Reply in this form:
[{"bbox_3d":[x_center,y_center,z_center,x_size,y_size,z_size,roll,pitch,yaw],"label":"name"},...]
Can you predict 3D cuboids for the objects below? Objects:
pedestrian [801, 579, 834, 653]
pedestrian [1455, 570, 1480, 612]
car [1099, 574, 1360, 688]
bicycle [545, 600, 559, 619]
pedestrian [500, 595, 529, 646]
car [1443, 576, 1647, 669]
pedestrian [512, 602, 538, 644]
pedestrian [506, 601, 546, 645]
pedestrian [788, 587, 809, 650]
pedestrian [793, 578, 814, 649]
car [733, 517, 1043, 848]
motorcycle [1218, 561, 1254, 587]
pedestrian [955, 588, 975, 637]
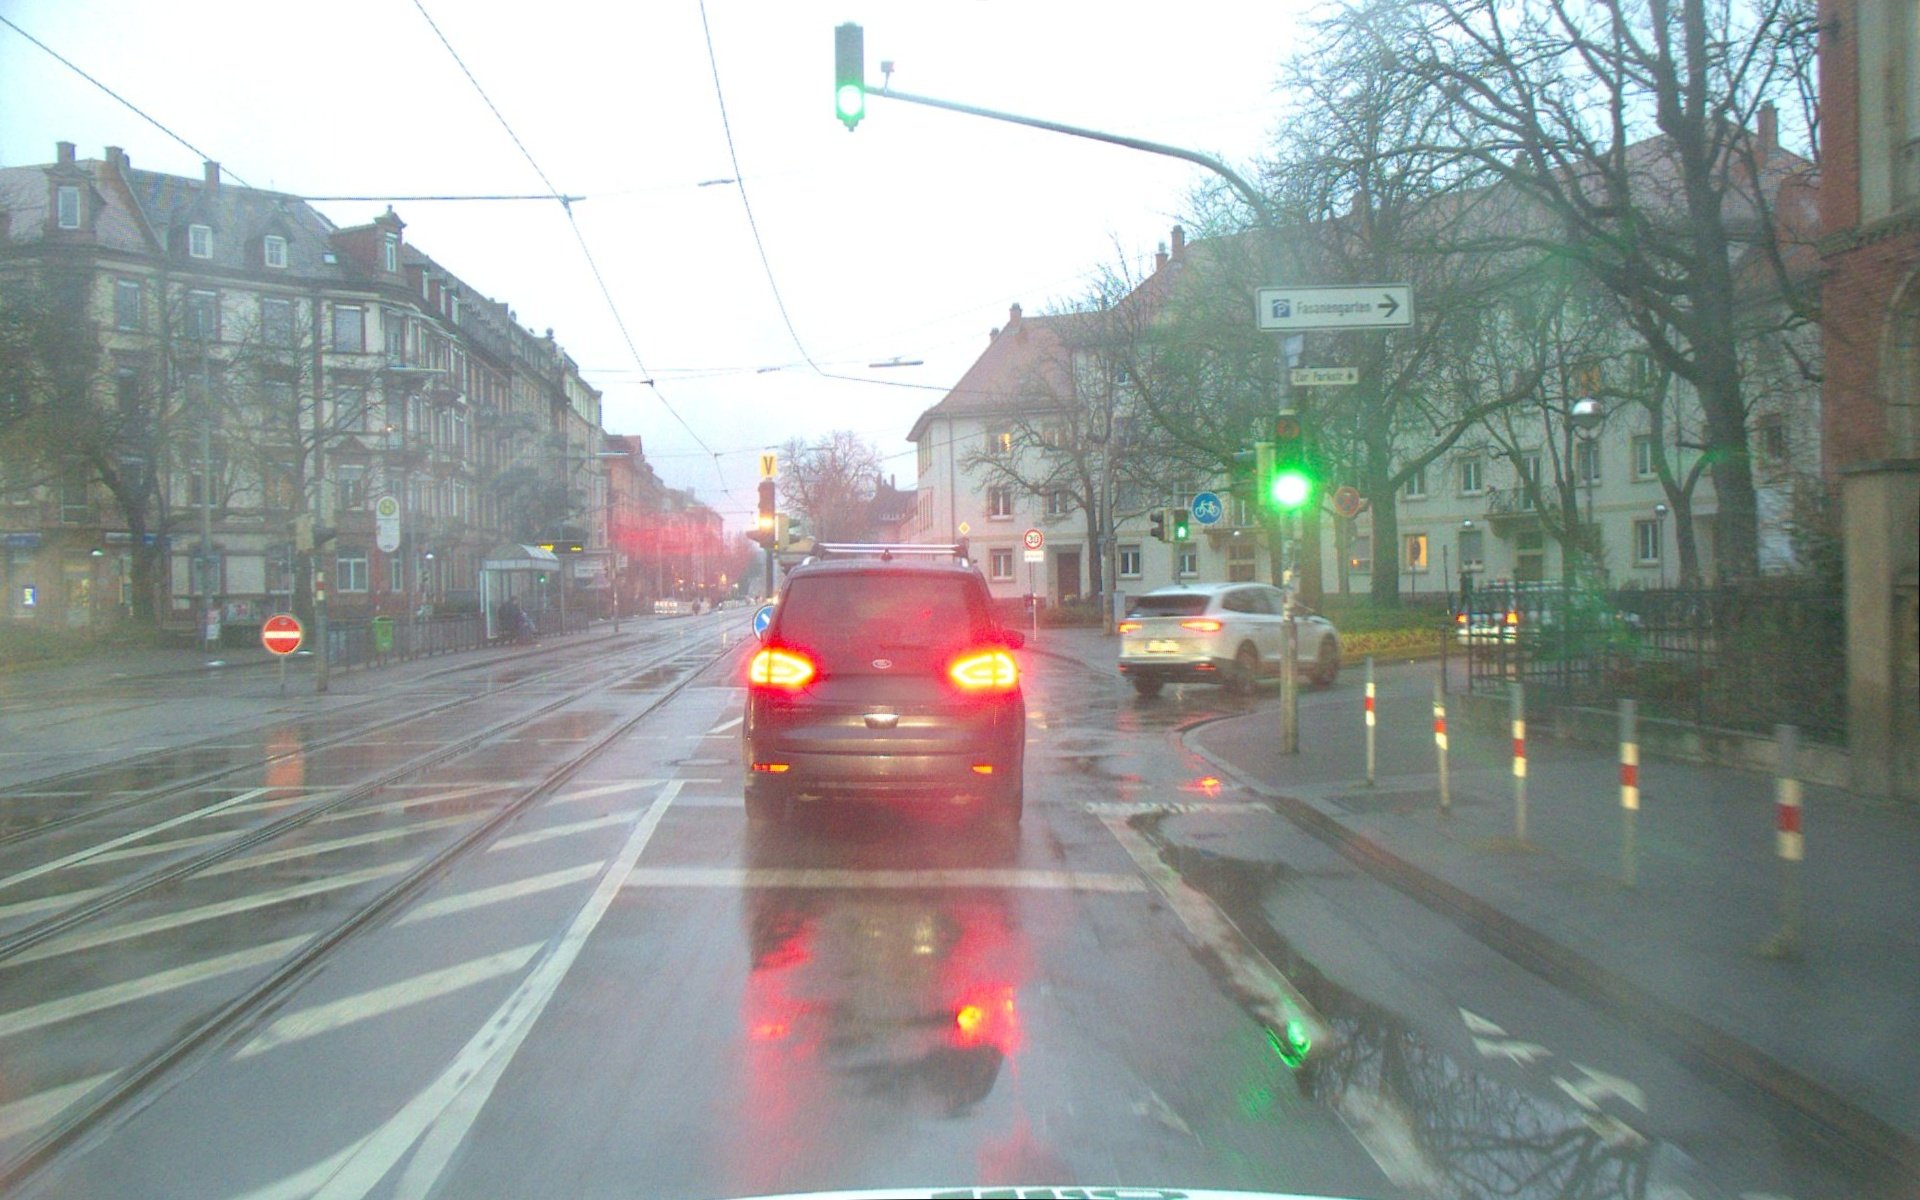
[{"bbox_3d":[-3.939,0.446,45.644,0.837,1.990,0.570,2,0,-5],"label":"pedestrian"},{"bbox_3d":[20.619,-0.380,67.193,0.680,1.689,0.706,-1,0,-35],"label":"pedestrian"},{"bbox_3d":[4.199,0.471,25.155,1.863,1.536,4.731,2,0,38],"label":"car"},{"bbox_3d":[-22.916,0.539,92.863,0.408,1.024,1.847,2,0,-4],"label":"bicycle"},{"bbox_3d":[-12.777,0.589,47.451,0.671,1.428,0.577,2,0,-6],"label":"pedestrian"},{"bbox_3d":[11.943,0.467,33.692,4.291,1.759,1.785,2,0,-36],"label":"car"},{"bbox_3d":[-13.051,0.694,49.601,0.640,1.239,0.516,2,0,-6],"label":"pedestrian"},{"bbox_3d":[-12.873,0.677,49.081,1.035,1.276,0.506,2,0,-6],"label":"pedestrian"},{"bbox_3d":[-4.588,0.520,47.042,0.546,1.771,0.570,2,0,-5],"label":"pedestrian"},{"bbox_3d":[-4.551,0.398,48.069,0.546,2.022,0.570,2,0,-5],"label":"pedestrian"},{"bbox_3d":[-0.554,0.496,11.767,1.766,1.903,4.014,2,0,-4],"label":"car"},{"bbox_3d":[12.525,-1.178,75.009,0.565,1.124,1.579,-4,2,-41],"label":"motorcycle"},{"bbox_3d":[0.220,0.507,67.672,0.700,1.951,0.689,2,0,6],"label":"pedestrian"}]
